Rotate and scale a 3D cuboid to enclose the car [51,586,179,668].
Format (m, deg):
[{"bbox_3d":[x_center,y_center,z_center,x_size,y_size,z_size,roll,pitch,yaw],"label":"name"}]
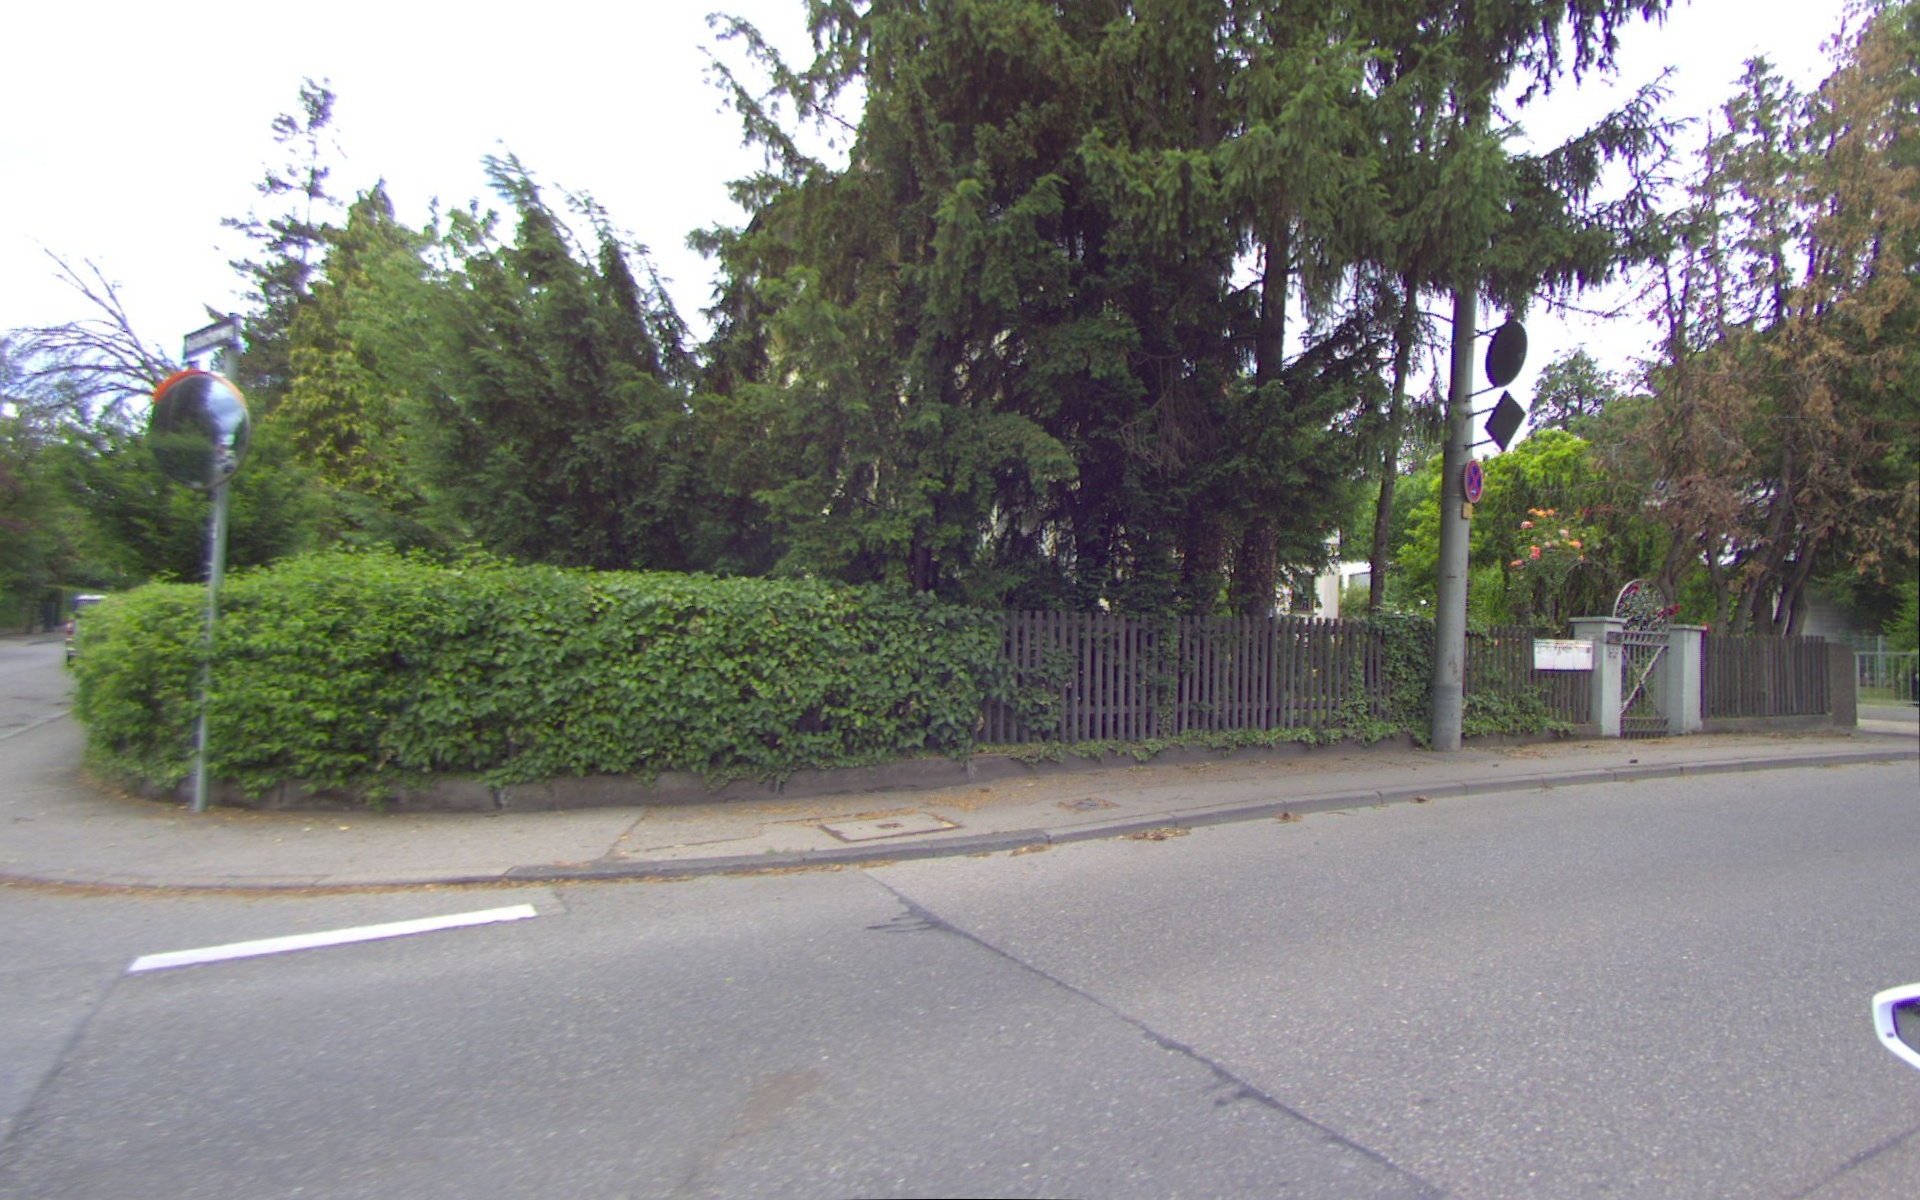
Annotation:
[{"bbox_3d":[-22.772,0.737,27.250,1.978,2.040,3.966,2,-2,-31],"label":"car"}]
